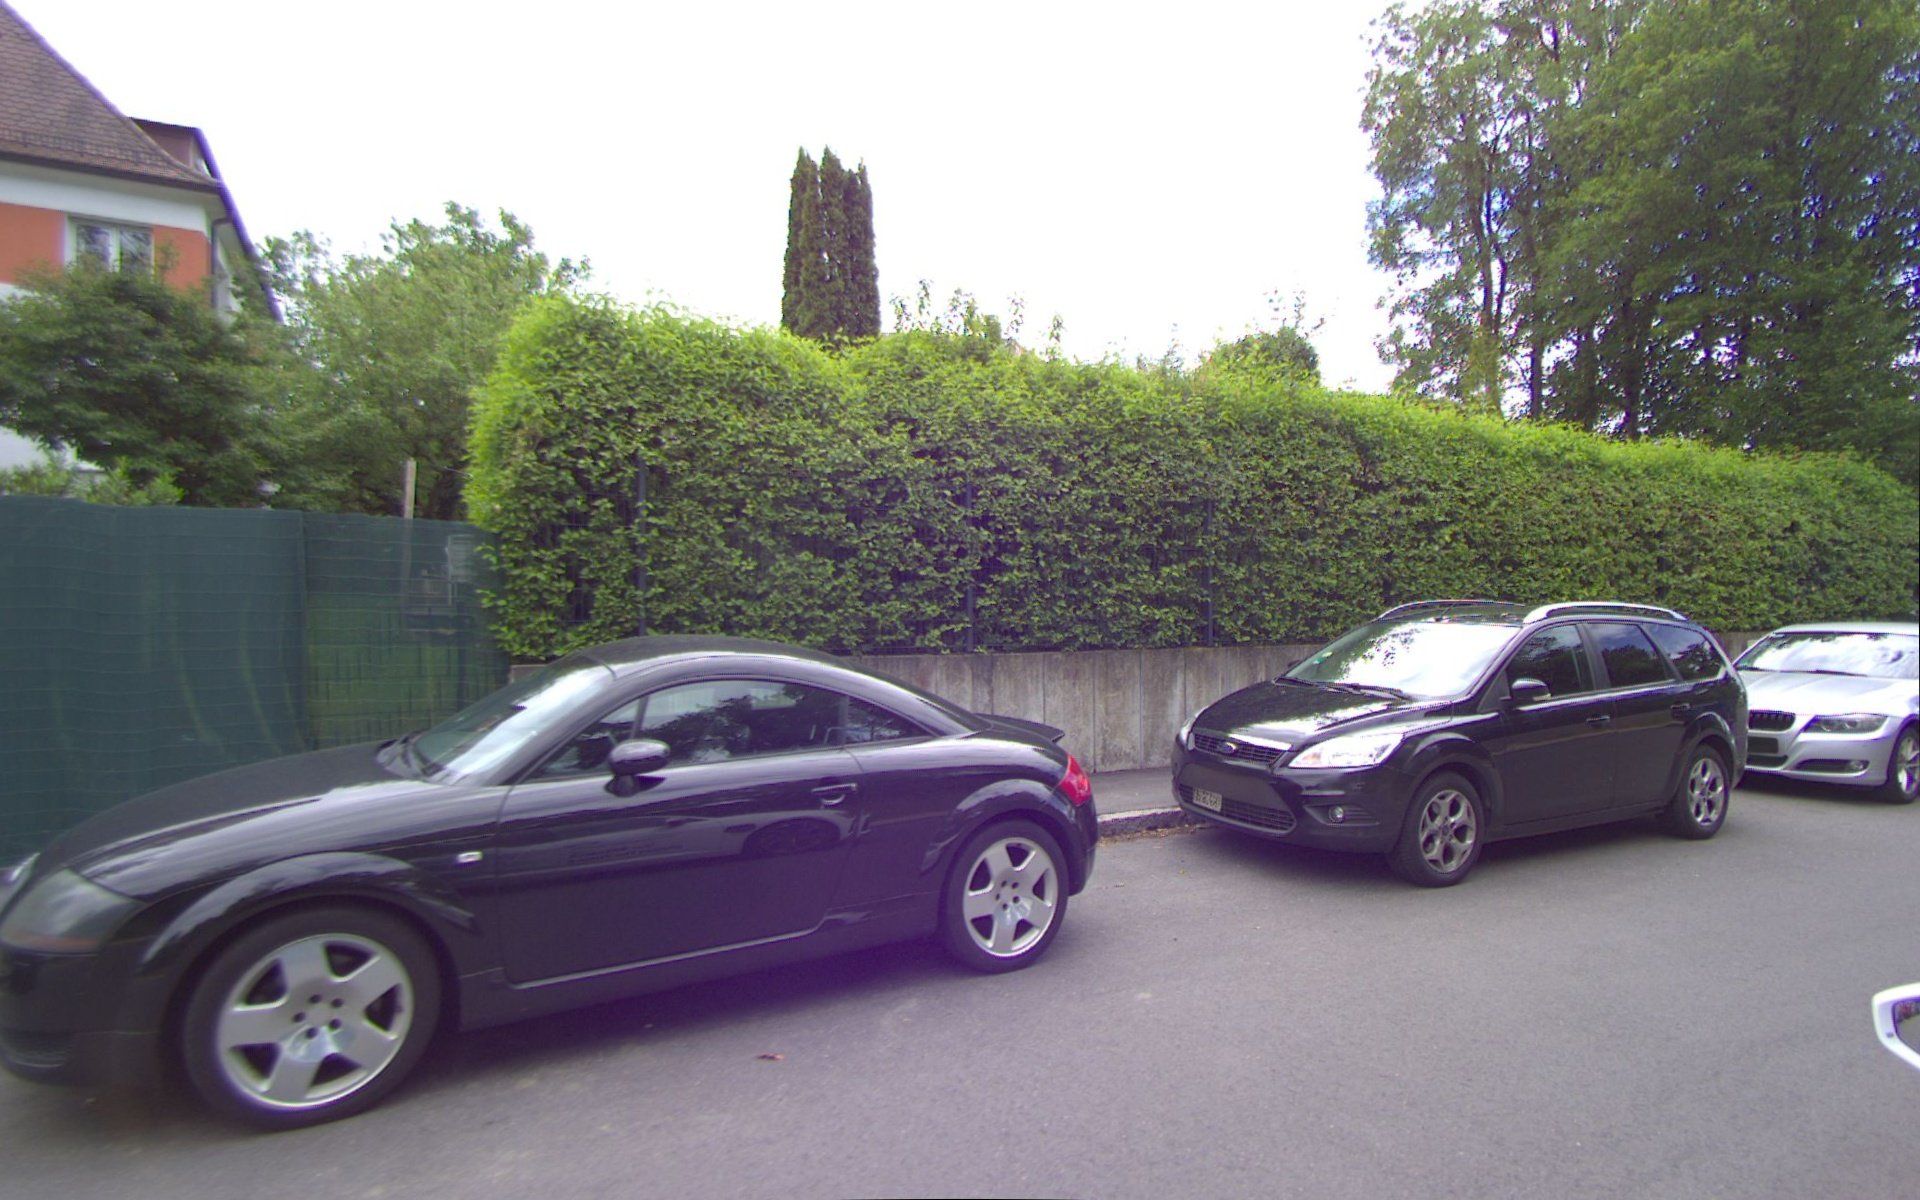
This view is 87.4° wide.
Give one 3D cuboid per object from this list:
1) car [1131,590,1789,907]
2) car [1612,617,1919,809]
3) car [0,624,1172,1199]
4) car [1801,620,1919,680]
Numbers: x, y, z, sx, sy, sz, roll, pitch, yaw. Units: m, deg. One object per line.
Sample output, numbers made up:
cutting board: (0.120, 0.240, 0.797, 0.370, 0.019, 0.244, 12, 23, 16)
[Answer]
car: (3.421, 0.764, 6.685, 4.417, 1.554, 1.650, 1, 0, -28)
car: (8.122, 0.882, 9.272, 4.288, 1.392, 1.767, 1, 0, -30)
car: (-1.233, 0.801, 4.097, 4.061, 1.359, 1.702, 1, 0, -32)
car: (28.034, 1.467, 29.367, 2.008, 1.692, 4.925, 2, -1, -23)
